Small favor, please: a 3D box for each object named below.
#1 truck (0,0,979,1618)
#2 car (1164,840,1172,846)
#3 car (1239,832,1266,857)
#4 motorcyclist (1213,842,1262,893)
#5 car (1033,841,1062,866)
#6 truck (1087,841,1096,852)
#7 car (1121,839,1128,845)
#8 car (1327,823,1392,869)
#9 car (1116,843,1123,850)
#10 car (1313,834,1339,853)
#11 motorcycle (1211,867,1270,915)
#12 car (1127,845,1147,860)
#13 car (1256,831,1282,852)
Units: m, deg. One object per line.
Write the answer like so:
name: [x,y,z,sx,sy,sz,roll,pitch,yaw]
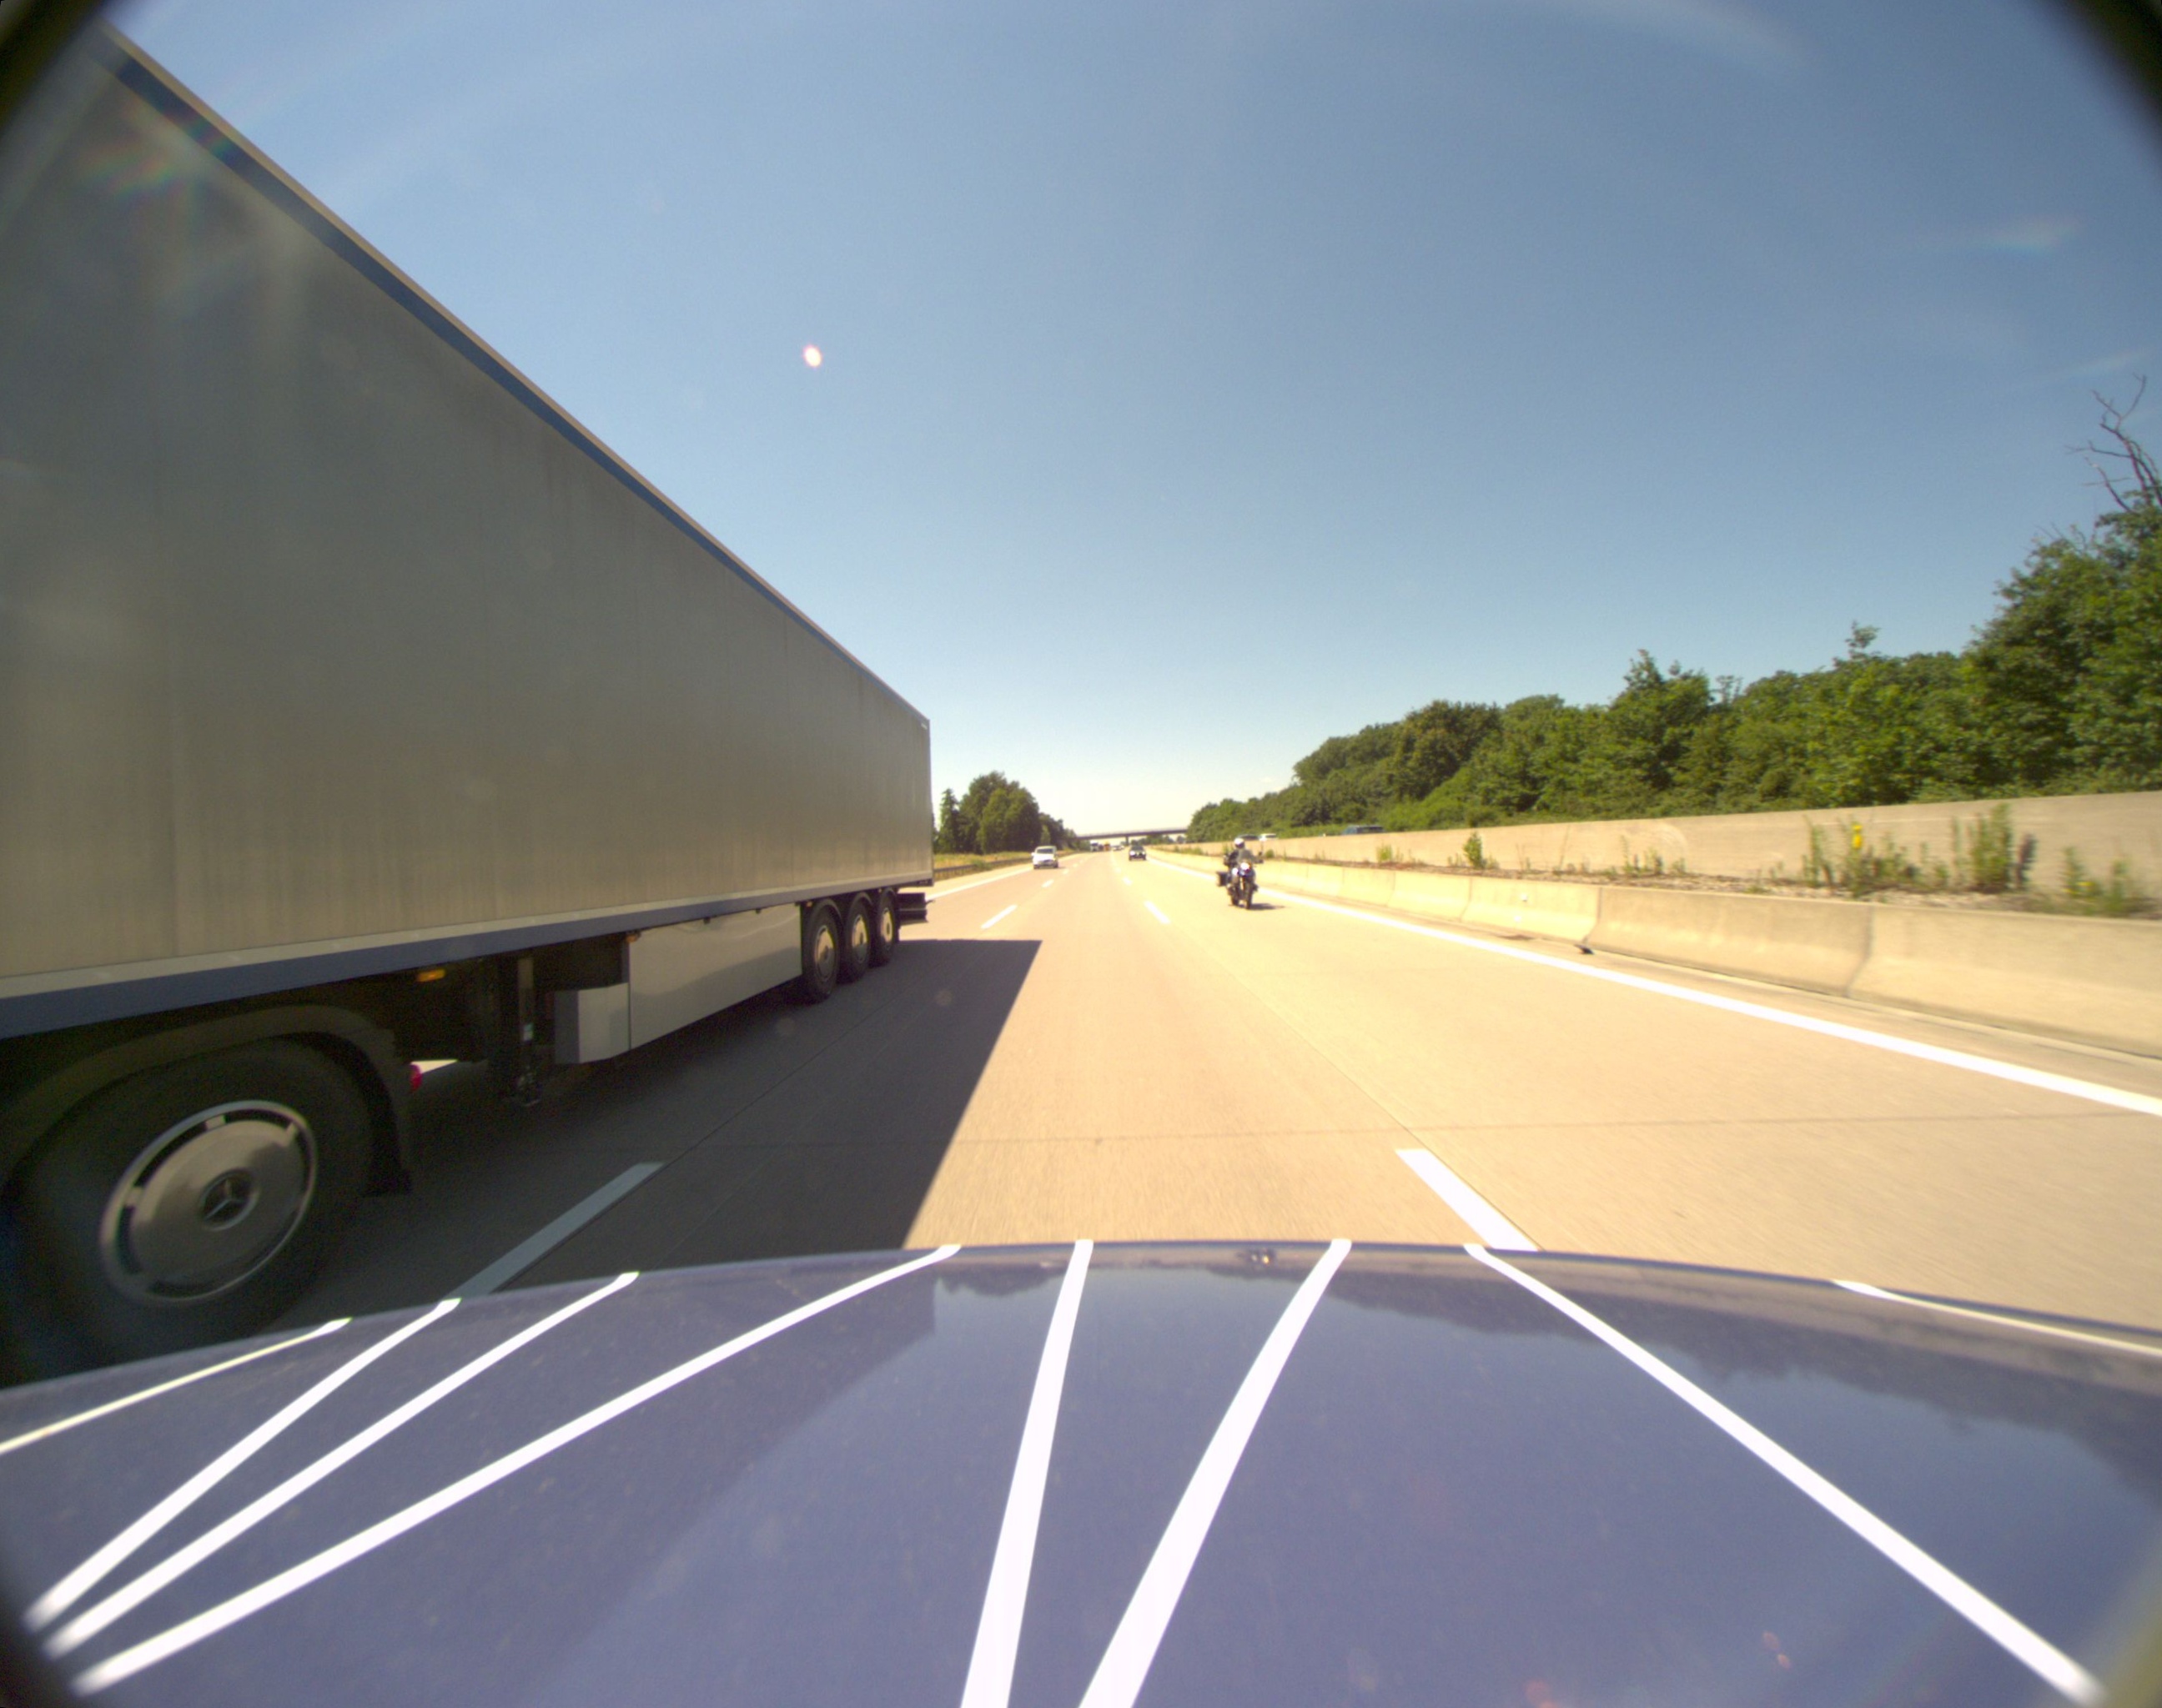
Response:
truck: [-4.286,-1.080,6.662,3.586,5.753,18.246,-5,0,1]
car: [23.832,-2.971,208.889,1.707,1.648,4.407,0,-1,1]
car: [14.335,-0.791,63.659,1.436,2.002,3.520,-2,1,1]
motorcyclist: [3.853,0.330,18.732,1.027,1.202,0.911,-2,1,2]
car: [-2.863,-0.037,66.002,1.884,1.878,5.280,-5,0,2]
truck: [3.539,-2.692,263.930,2.570,3.514,10.101,-4,0,2]
car: [12.666,-3.400,220.852,1.580,1.565,3.674,-2,1,-3]
car: [13.384,-0.387,36.799,1.436,2.002,4.786,-2,1,1]
car: [9.335,-1.826,182.667,1.586,1.527,3.611,-2,1,2]
car: [22.890,-0.973,71.079,1.436,1.705,3.273,-2,1,1]
motorcycle: [3.872,0.870,18.679,1.023,1.042,2.413,-2,0,2]
car: [6.052,-0.206,82.475,1.998,1.518,4.000,-2,1,2]
car: [18.516,-1.220,74.990,1.638,2.002,4.103,-2,1,1]
